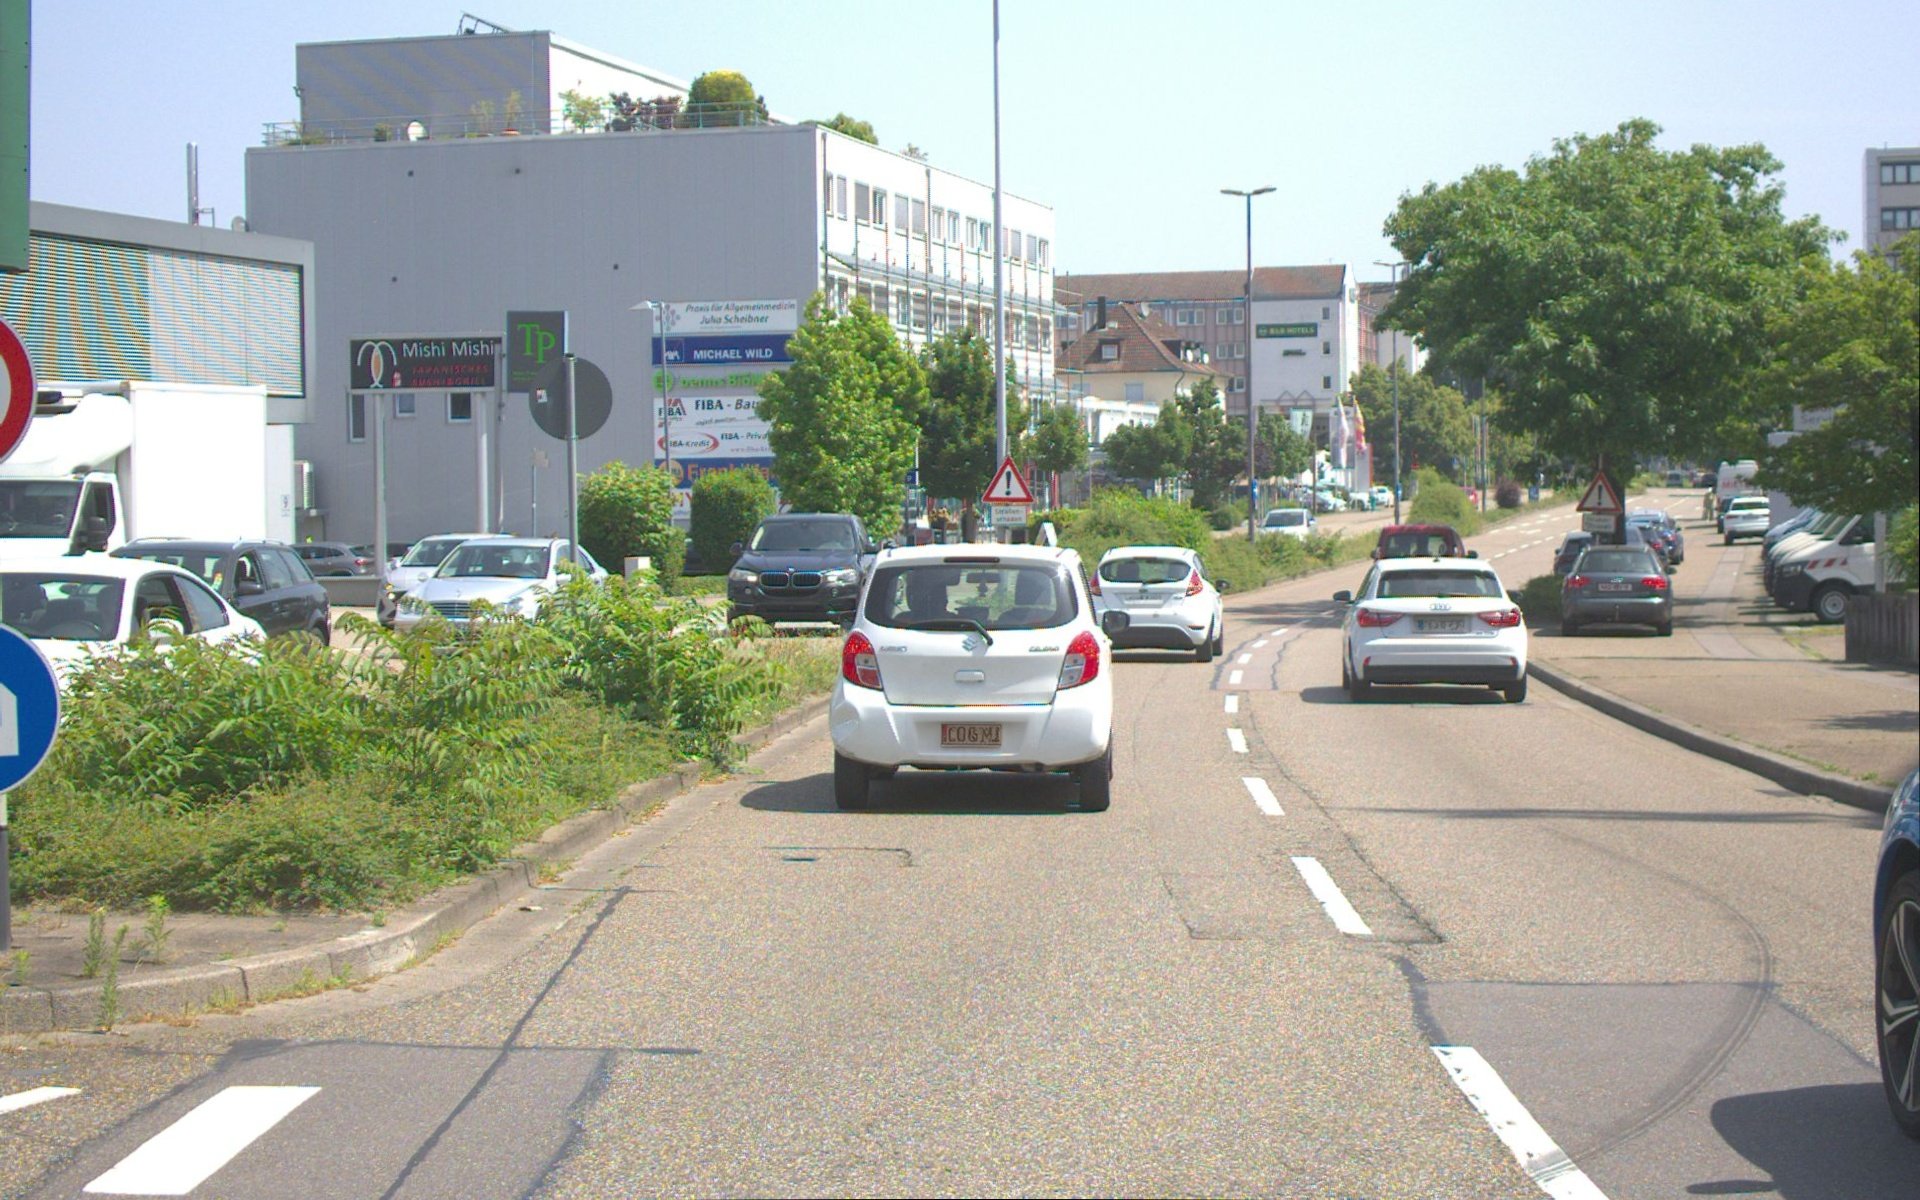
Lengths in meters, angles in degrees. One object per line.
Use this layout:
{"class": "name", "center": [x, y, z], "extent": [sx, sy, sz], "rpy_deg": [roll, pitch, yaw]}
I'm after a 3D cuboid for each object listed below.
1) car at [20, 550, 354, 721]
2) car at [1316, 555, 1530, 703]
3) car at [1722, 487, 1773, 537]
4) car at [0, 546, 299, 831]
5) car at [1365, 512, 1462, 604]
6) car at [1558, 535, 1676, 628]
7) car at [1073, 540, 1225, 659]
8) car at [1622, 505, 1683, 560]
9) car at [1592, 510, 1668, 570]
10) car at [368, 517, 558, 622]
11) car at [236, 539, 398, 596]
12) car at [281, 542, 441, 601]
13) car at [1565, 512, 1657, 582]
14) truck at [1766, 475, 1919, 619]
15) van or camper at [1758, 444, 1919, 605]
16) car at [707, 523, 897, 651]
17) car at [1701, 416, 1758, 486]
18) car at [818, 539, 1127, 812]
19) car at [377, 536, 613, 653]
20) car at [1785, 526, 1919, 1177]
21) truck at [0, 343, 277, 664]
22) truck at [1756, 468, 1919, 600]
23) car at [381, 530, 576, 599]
{"class": "car", "center": [-7.071, 0.273, 31.934], "extent": [1.802, 1.434, 4.576], "rpy_deg": [0, 1, 4]}
{"class": "car", "center": [4.624, 0.255, 34.783], "extent": [1.667, 1.394, 3.793], "rpy_deg": [0, 1, 0]}
{"class": "car", "center": [27.327, -3.068, 119.322], "extent": [1.668, 1.590, 4.611], "rpy_deg": [-1, 2, 13]}
{"class": "car", "center": [-5.362, 0.416, 19.990], "extent": [1.863, 1.426, 4.744], "rpy_deg": [0, 1, 3]}
{"class": "car", "center": [8.838, -0.841, 67.113], "extent": [1.795, 1.723, 3.972], "rpy_deg": [1, 1, 7]}
{"class": "car", "center": [10.693, -0.327, 55.861], "extent": [1.798, 1.401, 4.318], "rpy_deg": [1, 2, 11]}
{"class": "car", "center": [2.410, -0.039, 44.630], "extent": [1.830, 1.445, 4.000], "rpy_deg": [1, 1, 1]}
{"class": "car", "center": [20.458, -2.004, 101.645], "extent": [1.714, 1.543, 4.789], "rpy_deg": [-1, 1, 11]}
{"class": "car", "center": [17.571, -1.601, 90.356], "extent": [1.855, 1.476, 5.154], "rpy_deg": [0, 2, 10]}
{"class": "car", "center": [-7.635, -0.483, 53.192], "extent": [1.898, 1.561, 4.197], "rpy_deg": [0, 1, 7]}
{"class": "car", "center": [-17.847, -0.911, 95.551], "extent": [3.973, 1.462, 1.963], "rpy_deg": [-1, 2, 8]}
{"class": "car", "center": [-17.208, -0.825, 98.852], "extent": [3.976, 1.462, 2.072], "rpy_deg": [-2, 2, 11]}
{"class": "car", "center": [16.250, -1.350, 85.644], "extent": [1.962, 1.524, 5.158], "rpy_deg": [-3, 1, 13]}
{"class": "truck", "center": [17.083, -0.985, 58.941], "extent": [6.249, 2.328, 2.367], "rpy_deg": [-2, 2, 15]}
{"class": "van or camper", "center": [18.234, -1.445, 63.328], "extent": [6.800, 2.888, 2.274], "rpy_deg": [-1, 2, 13]}
{"class": "car", "center": [-2.230, -0.198, 49.906], "extent": [1.909, 1.745, 4.758], "rpy_deg": [1, 0, 8]}
{"class": "car", "center": [33.627, -6.496, 150.374], "extent": [2.134, 2.829, 7.306], "rpy_deg": [-4, 1, 12]}
{"class": "car", "center": [0.046, 0.407, 20.840], "extent": [1.712, 1.505, 3.247], "rpy_deg": [1, 1, -1]}
{"class": "car", "center": [-5.635, -0.096, 42.177], "extent": [1.898, 1.356, 4.197], "rpy_deg": [0, 1, 7]}
{"class": "car", "center": [3.340, 0.634, 7.434], "extent": [1.913, 1.591, 4.396], "rpy_deg": [0, 1, -2]}
{"class": "truck", "center": [-10.253, -1.059, 40.071], "extent": [2.265, 3.406, 7.036], "rpy_deg": [1, 0, 8]}
{"class": "truck", "center": [18.114, -1.320, 66.278], "extent": [5.251, 2.427, 2.110], "rpy_deg": [-2, 2, 15]}
{"class": "car", "center": [-10.668, -0.781, 76.204], "extent": [3.988, 1.454, 1.575], "rpy_deg": [-1, 0, 8]}
